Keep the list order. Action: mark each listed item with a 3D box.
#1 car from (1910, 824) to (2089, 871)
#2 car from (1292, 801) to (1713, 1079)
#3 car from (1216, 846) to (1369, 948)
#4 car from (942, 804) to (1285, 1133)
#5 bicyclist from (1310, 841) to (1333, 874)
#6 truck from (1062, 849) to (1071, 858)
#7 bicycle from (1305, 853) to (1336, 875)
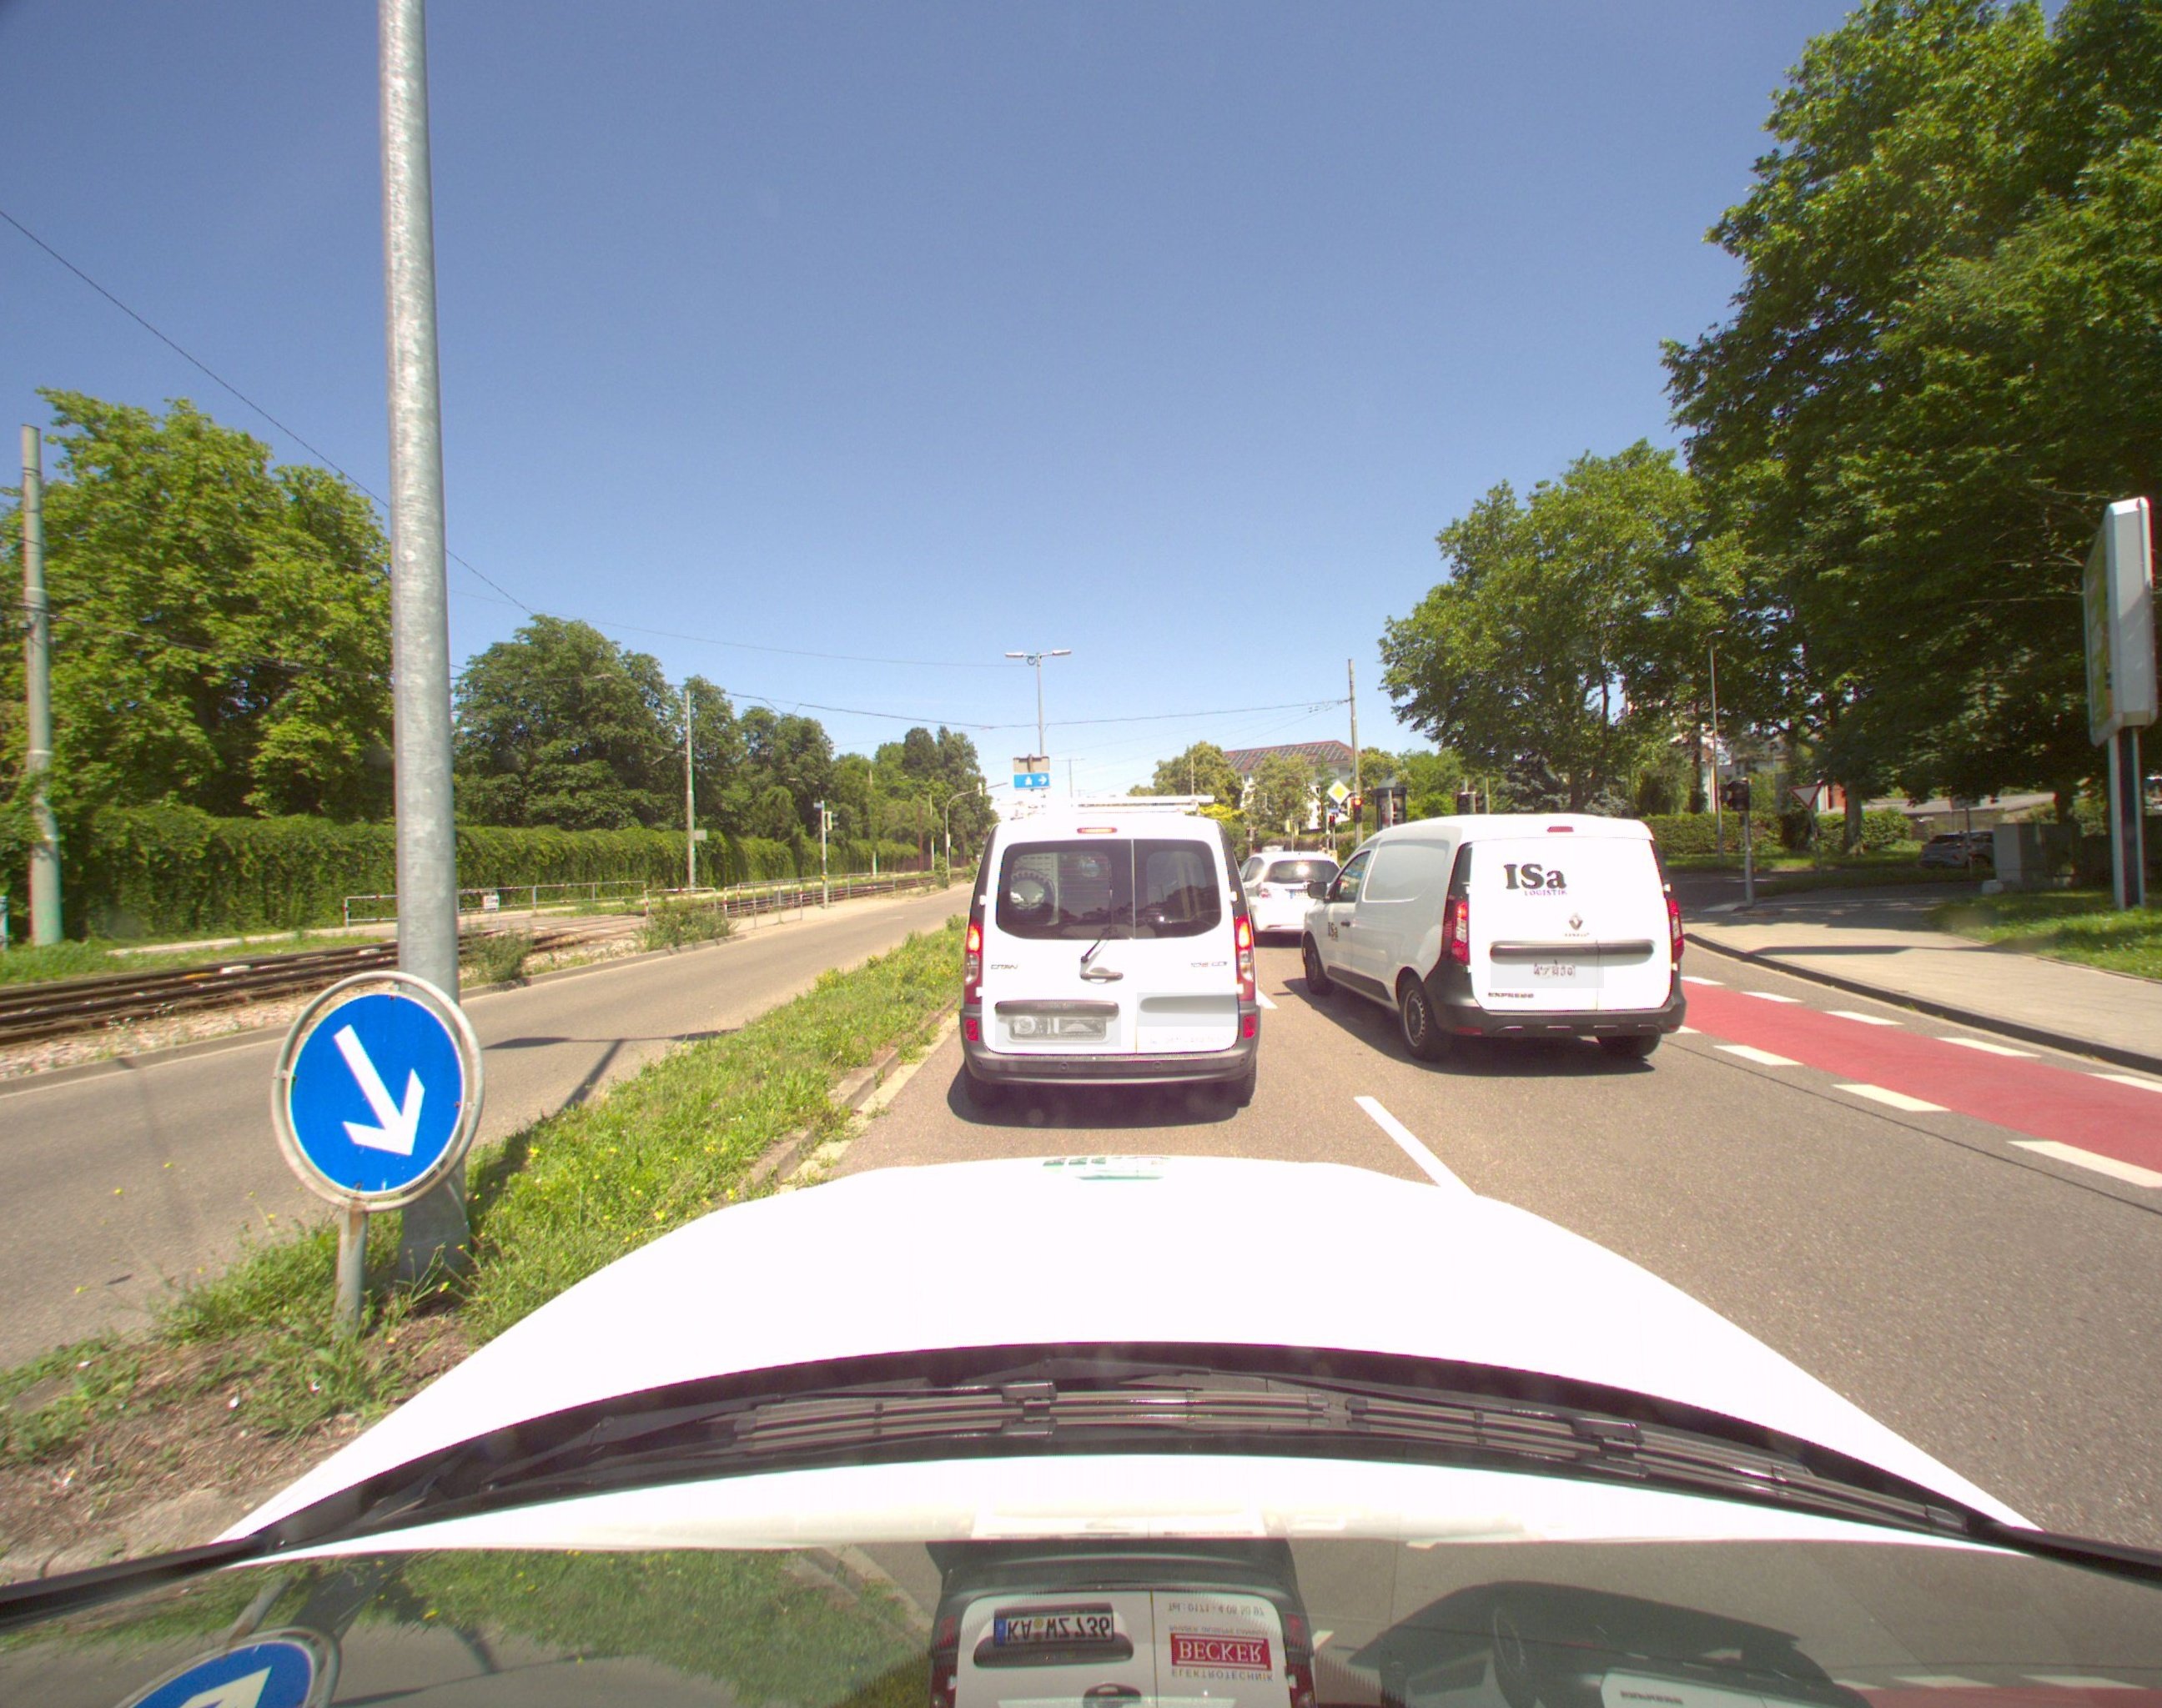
[{"bbox_3d":[32.516,-0.218,28.945,3.962,1.520,1.758,-2,-1,10],"label":"car"},{"bbox_3d":[3.261,0.563,7.313,1.721,1.788,4.065,0,0,1],"label":"car"},{"bbox_3d":[3.630,0.656,14.672,1.828,1.568,4.002,0,0,2],"label":"car"},{"bbox_3d":[0.241,0.622,6.567,1.814,1.739,4.398,-1,0,2],"label":"car"},{"bbox_3d":[13.075,0.187,44.321,0.972,1.788,0.724,-1,-1,-8],"label":"bicyclist"},{"bbox_3d":[-4.353,-0.122,244.871,2.131,2.587,5.891,0,-1,2],"label":"truck"},{"bbox_3d":[13.026,0.538,44.338,0.891,1.159,1.951,-1,-1,-7],"label":"bicycle"}]
